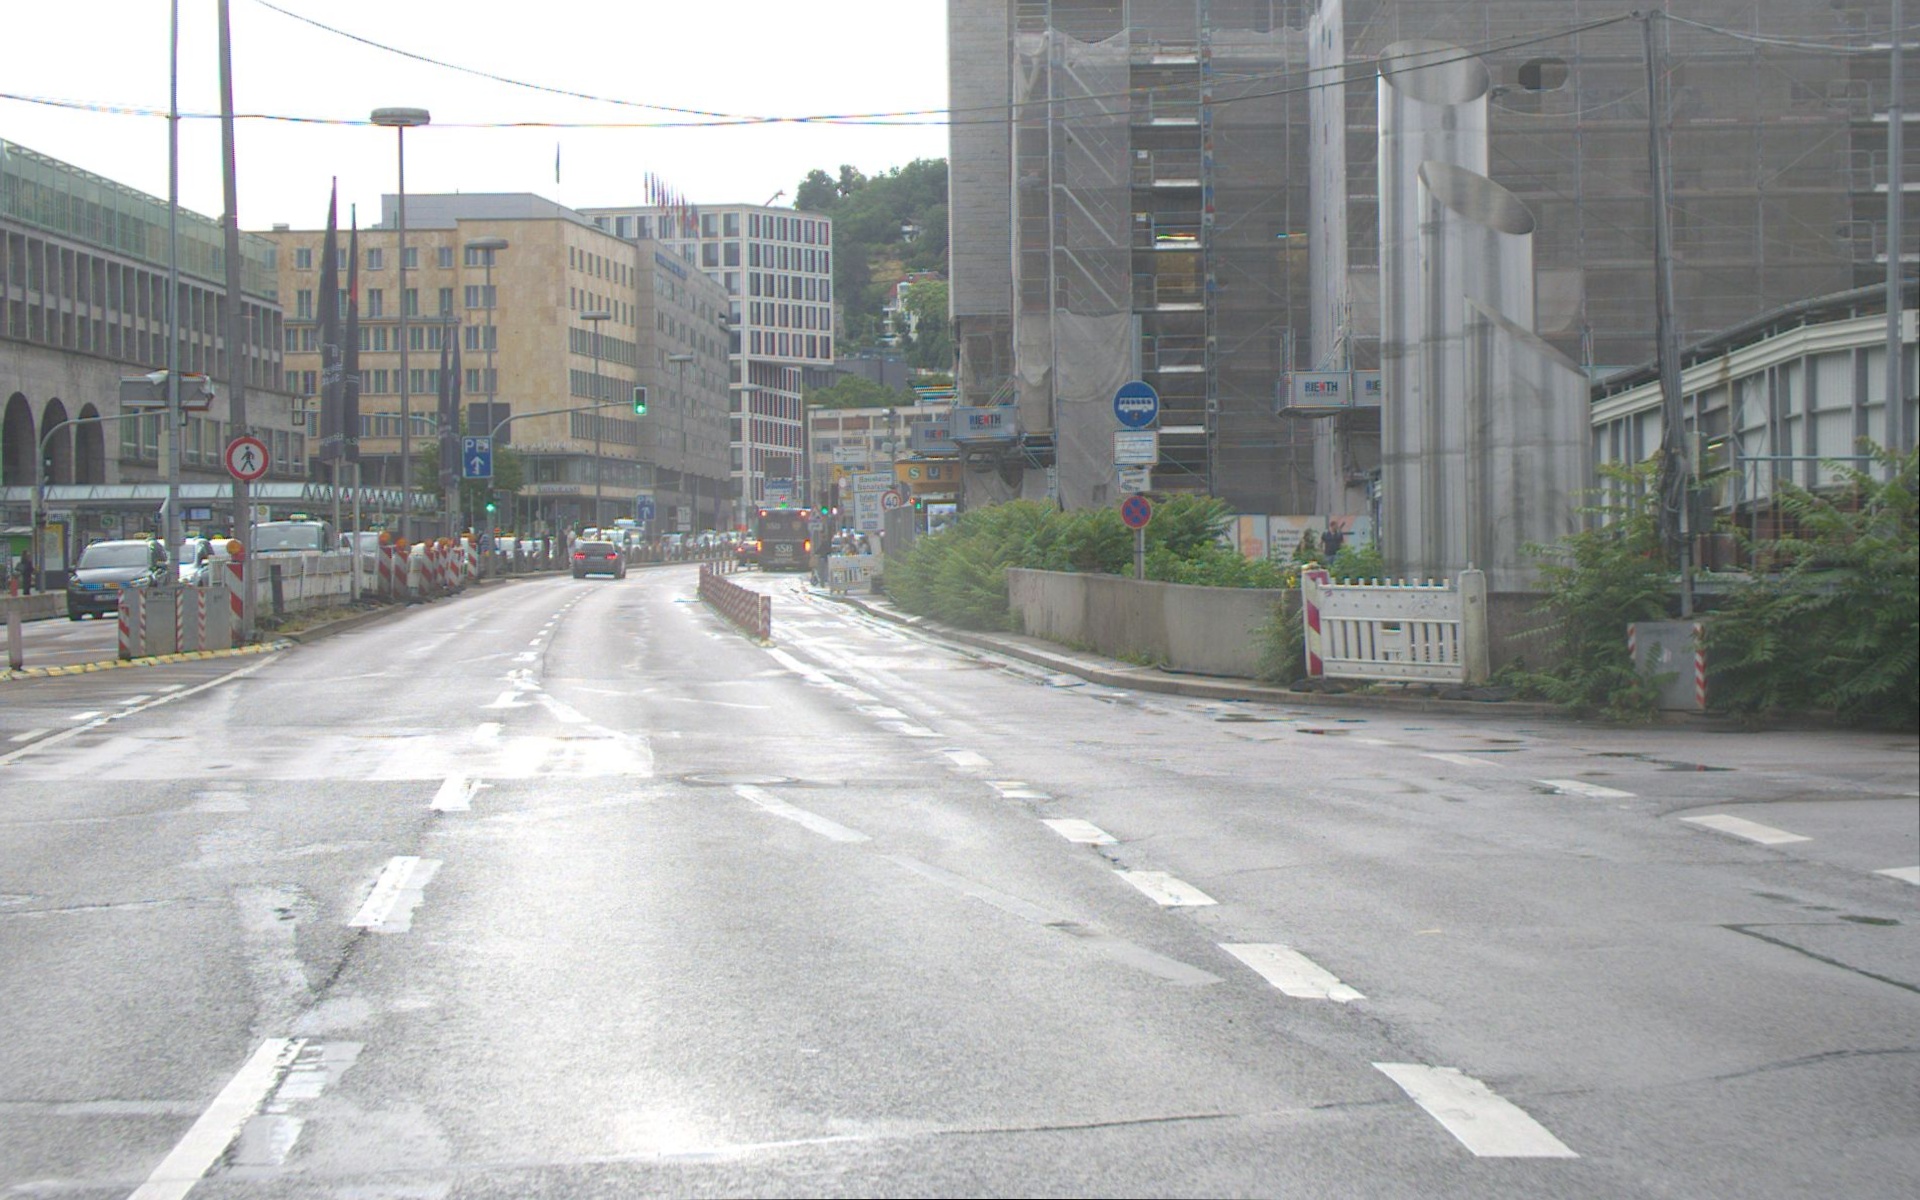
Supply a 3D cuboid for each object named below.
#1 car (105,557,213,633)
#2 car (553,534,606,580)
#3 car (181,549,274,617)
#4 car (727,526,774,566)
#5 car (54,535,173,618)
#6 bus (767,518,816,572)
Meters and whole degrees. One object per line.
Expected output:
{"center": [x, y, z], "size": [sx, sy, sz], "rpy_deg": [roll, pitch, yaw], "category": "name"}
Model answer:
{"center": [-18.172, -0.095, 78.170], "size": [1.901, 1.523, 4.178], "rpy_deg": [-3, -1, -7], "category": "car"}
{"center": [-14.601, -1.651, 131.728], "size": [1.901, 1.523, 4.178], "rpy_deg": [-3, -1, -7], "category": "car"}
{"center": [-18.652, -0.411, 87.666], "size": [1.901, 1.523, 4.178], "rpy_deg": [-3, -1, -7], "category": "car"}
{"center": [-11.718, -3.023, 192.492], "size": [1.994, 2.007, 3.999], "rpy_deg": [-3, -1, 5], "category": "car"}
{"center": [-17.816, -0.467, 72.481], "size": [1.901, 1.523, 4.178], "rpy_deg": [-3, -1, -7], "category": "car"}
{"center": [-8.175, -2.660, 166.958], "size": [1.993, 2.423, 4.000], "rpy_deg": [-3, -1, 1], "category": "bus"}
